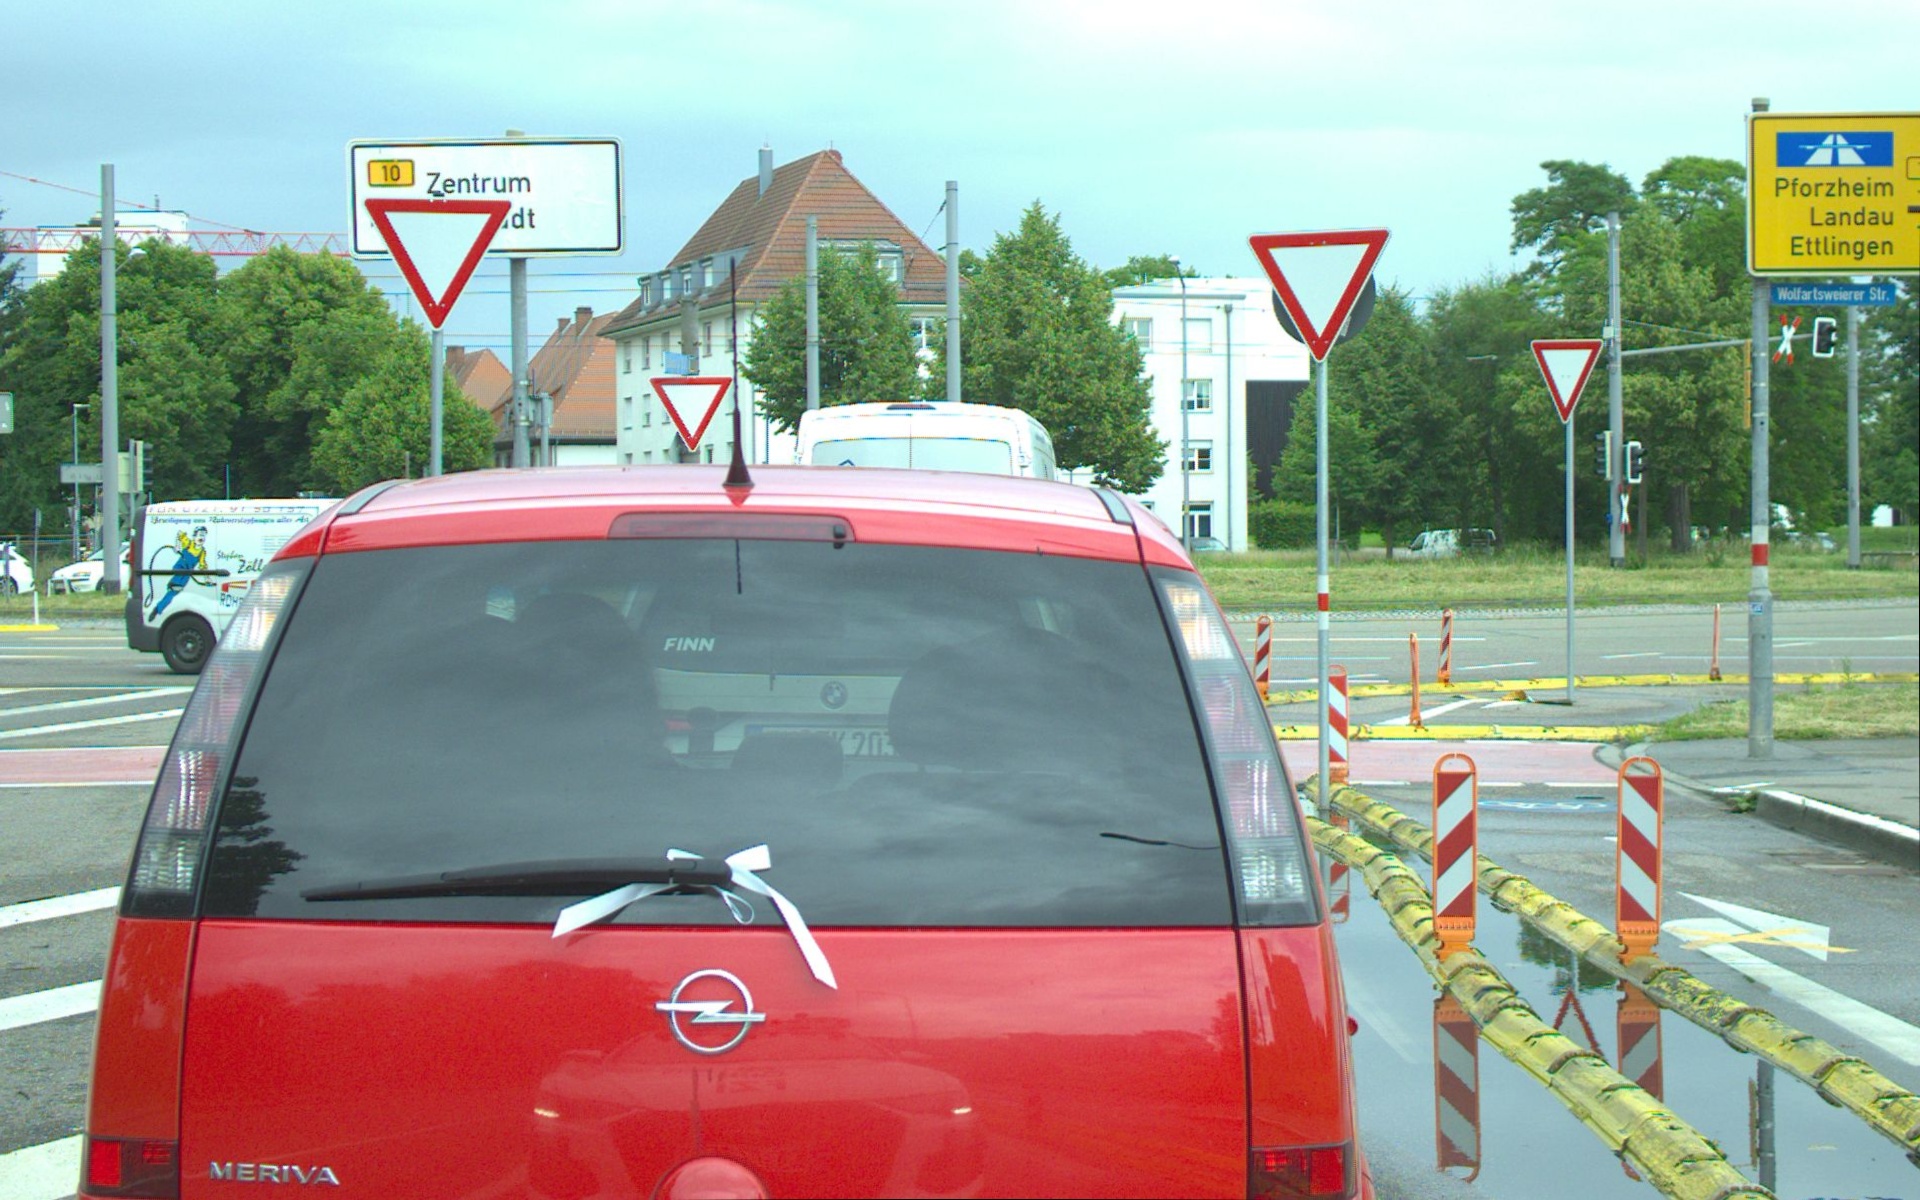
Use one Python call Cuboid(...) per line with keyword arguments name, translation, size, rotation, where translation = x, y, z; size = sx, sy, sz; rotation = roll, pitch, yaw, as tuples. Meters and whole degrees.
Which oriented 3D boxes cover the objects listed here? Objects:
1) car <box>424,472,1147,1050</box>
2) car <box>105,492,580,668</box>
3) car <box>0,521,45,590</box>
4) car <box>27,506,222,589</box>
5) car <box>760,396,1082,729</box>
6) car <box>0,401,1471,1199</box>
Cuboid(name="car", translation=(-0.531, 0.414, 12.190), size=(2.059, 1.642, 4.607), rotation=(1, 1, -1))
Cuboid(name="car", translation=(-6.939, -0.226, 38.732), size=(4.837, 1.893, 2.097), rotation=(0, 1, 18))
Cuboid(name="car", translation=(-24.010, -1.022, 80.621), size=(1.998, 1.629, 4.665), rotation=(0, 1, 37))
Cuboid(name="car", translation=(-20.703, -1.318, 85.305), size=(1.997, 2.007, 4.471), rotation=(0, 1, 35))
Cuboid(name="car", translation=(-0.217, -0.342, 28.926), size=(2.195, 2.531, 4.961), rotation=(1, 1, 5))
Cuboid(name="car", translation=(-0.323, 0.575, 5.491), size=(1.673, 1.635, 3.627), rotation=(1, 1, -1))
